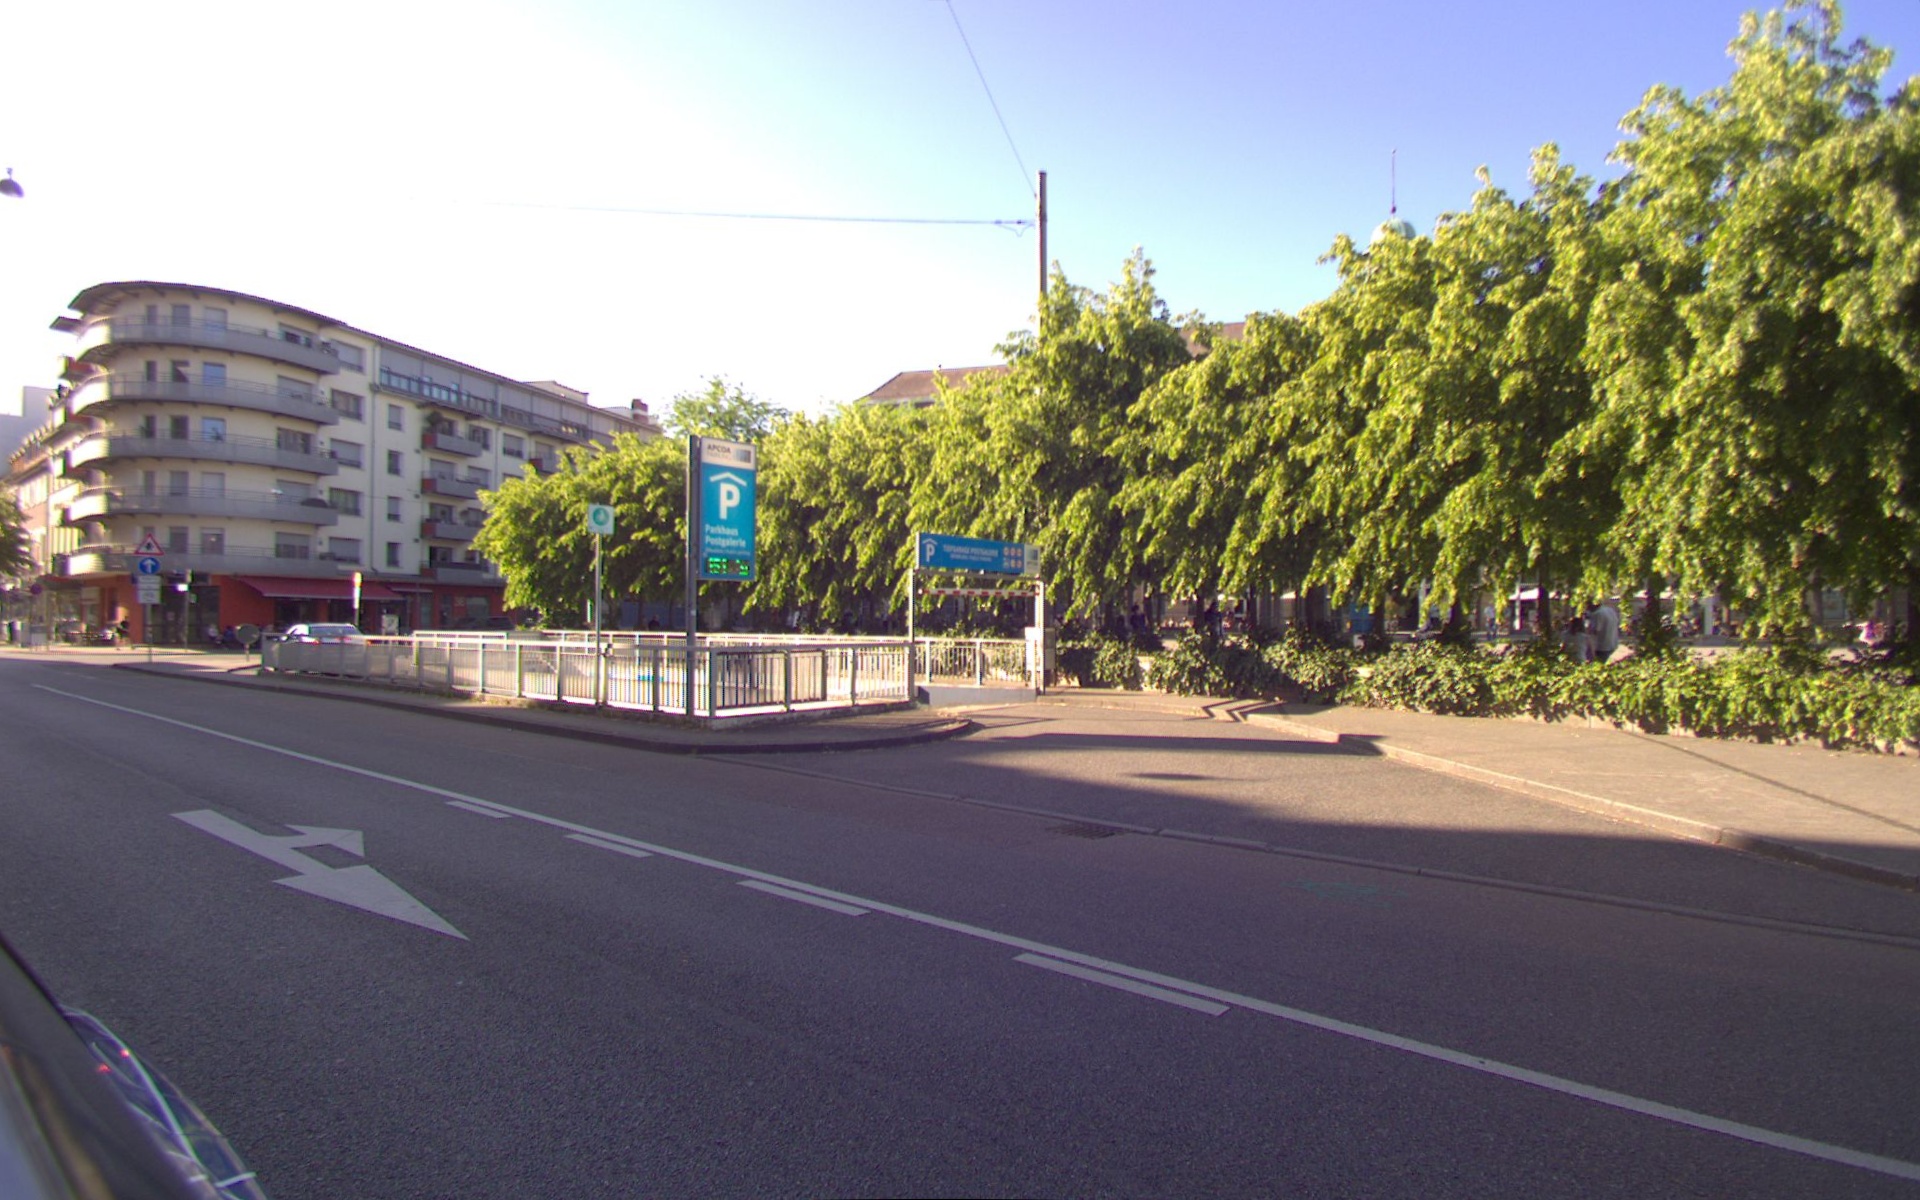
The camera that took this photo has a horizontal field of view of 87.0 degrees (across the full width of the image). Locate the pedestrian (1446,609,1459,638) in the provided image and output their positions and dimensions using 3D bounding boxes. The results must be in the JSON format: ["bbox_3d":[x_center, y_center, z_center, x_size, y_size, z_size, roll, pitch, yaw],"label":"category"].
[{"bbox_3d":[30.017,1.418,61.692,0.642,1.734,0.604,-1,0,20],"label":"pedestrian"}]

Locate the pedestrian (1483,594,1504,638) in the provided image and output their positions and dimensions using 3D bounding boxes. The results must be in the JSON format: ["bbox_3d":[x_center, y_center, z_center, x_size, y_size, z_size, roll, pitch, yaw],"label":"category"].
[{"bbox_3d":[21.074,0.617,39.968,0.643,1.734,0.604,-1,0,22],"label":"pedestrian"}]

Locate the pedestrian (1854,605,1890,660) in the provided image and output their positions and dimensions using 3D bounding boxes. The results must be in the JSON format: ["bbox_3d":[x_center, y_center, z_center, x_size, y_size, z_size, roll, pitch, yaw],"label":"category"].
[{"bbox_3d":[29.688,1.051,32.951,0.641,1.734,0.605,-1,0,18],"label":"pedestrian"}]

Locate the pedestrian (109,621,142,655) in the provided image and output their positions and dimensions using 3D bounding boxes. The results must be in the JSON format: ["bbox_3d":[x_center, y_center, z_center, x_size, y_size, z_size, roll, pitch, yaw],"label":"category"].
[{"bbox_3d":[-40.173,1.832,48.718,0.877,1.607,0.861,-1,0,2],"label":"pedestrian"}]

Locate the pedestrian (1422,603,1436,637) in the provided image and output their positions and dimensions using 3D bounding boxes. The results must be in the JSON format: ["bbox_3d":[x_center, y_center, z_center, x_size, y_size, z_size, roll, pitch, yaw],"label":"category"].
[{"bbox_3d":[24.285,1.037,52.378,0.643,1.734,0.603,-1,0,26],"label":"pedestrian"}]

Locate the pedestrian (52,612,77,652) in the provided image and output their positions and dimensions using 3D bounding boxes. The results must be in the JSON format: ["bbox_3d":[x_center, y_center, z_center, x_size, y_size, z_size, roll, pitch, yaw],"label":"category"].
[{"bbox_3d":[-46.550,1.660,52.593,0.888,2.029,0.850,-1,0,40],"label":"pedestrian"}]

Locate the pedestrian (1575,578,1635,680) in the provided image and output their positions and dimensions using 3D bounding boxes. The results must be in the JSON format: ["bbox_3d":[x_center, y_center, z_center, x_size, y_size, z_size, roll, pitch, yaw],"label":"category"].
[{"bbox_3d":[10.793,0.475,16.932,0.645,1.661,0.626,-1,0,-35],"label":"pedestrian"}]

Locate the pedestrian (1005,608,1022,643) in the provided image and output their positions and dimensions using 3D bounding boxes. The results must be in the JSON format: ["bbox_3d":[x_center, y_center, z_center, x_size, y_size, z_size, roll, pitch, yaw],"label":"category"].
[{"bbox_3d":[2.728,1.299,51.808,0.606,1.734,0.640,-1,0,31],"label":"pedestrian"}]

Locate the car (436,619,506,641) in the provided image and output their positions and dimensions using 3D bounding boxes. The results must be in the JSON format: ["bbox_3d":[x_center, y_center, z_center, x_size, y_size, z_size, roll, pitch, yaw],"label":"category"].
[{"bbox_3d":[-30.501,1.875,63.229,1.742,1.311,3.977,-1,-1,17],"label":"car"}]

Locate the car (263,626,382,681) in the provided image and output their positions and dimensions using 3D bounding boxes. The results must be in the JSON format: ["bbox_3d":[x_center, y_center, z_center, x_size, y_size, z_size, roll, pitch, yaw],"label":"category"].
[{"bbox_3d":[-17.882,1.460,28.319,4.266,1.363,1.798,0,-3,44],"label":"car"}]

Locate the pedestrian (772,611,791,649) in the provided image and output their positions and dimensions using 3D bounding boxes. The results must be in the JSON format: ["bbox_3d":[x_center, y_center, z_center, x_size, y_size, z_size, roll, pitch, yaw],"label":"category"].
[{"bbox_3d":[-8.091,1.355,45.815,0.604,1.734,0.642,-1,0,21],"label":"pedestrian"}]

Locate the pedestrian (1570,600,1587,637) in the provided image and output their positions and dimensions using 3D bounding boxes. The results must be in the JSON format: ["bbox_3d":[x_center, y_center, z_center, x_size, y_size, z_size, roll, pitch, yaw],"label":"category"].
[{"bbox_3d":[33.163,0.972,54.262,0.676,1.963,0.632,-1,0,38],"label":"pedestrian"}]
